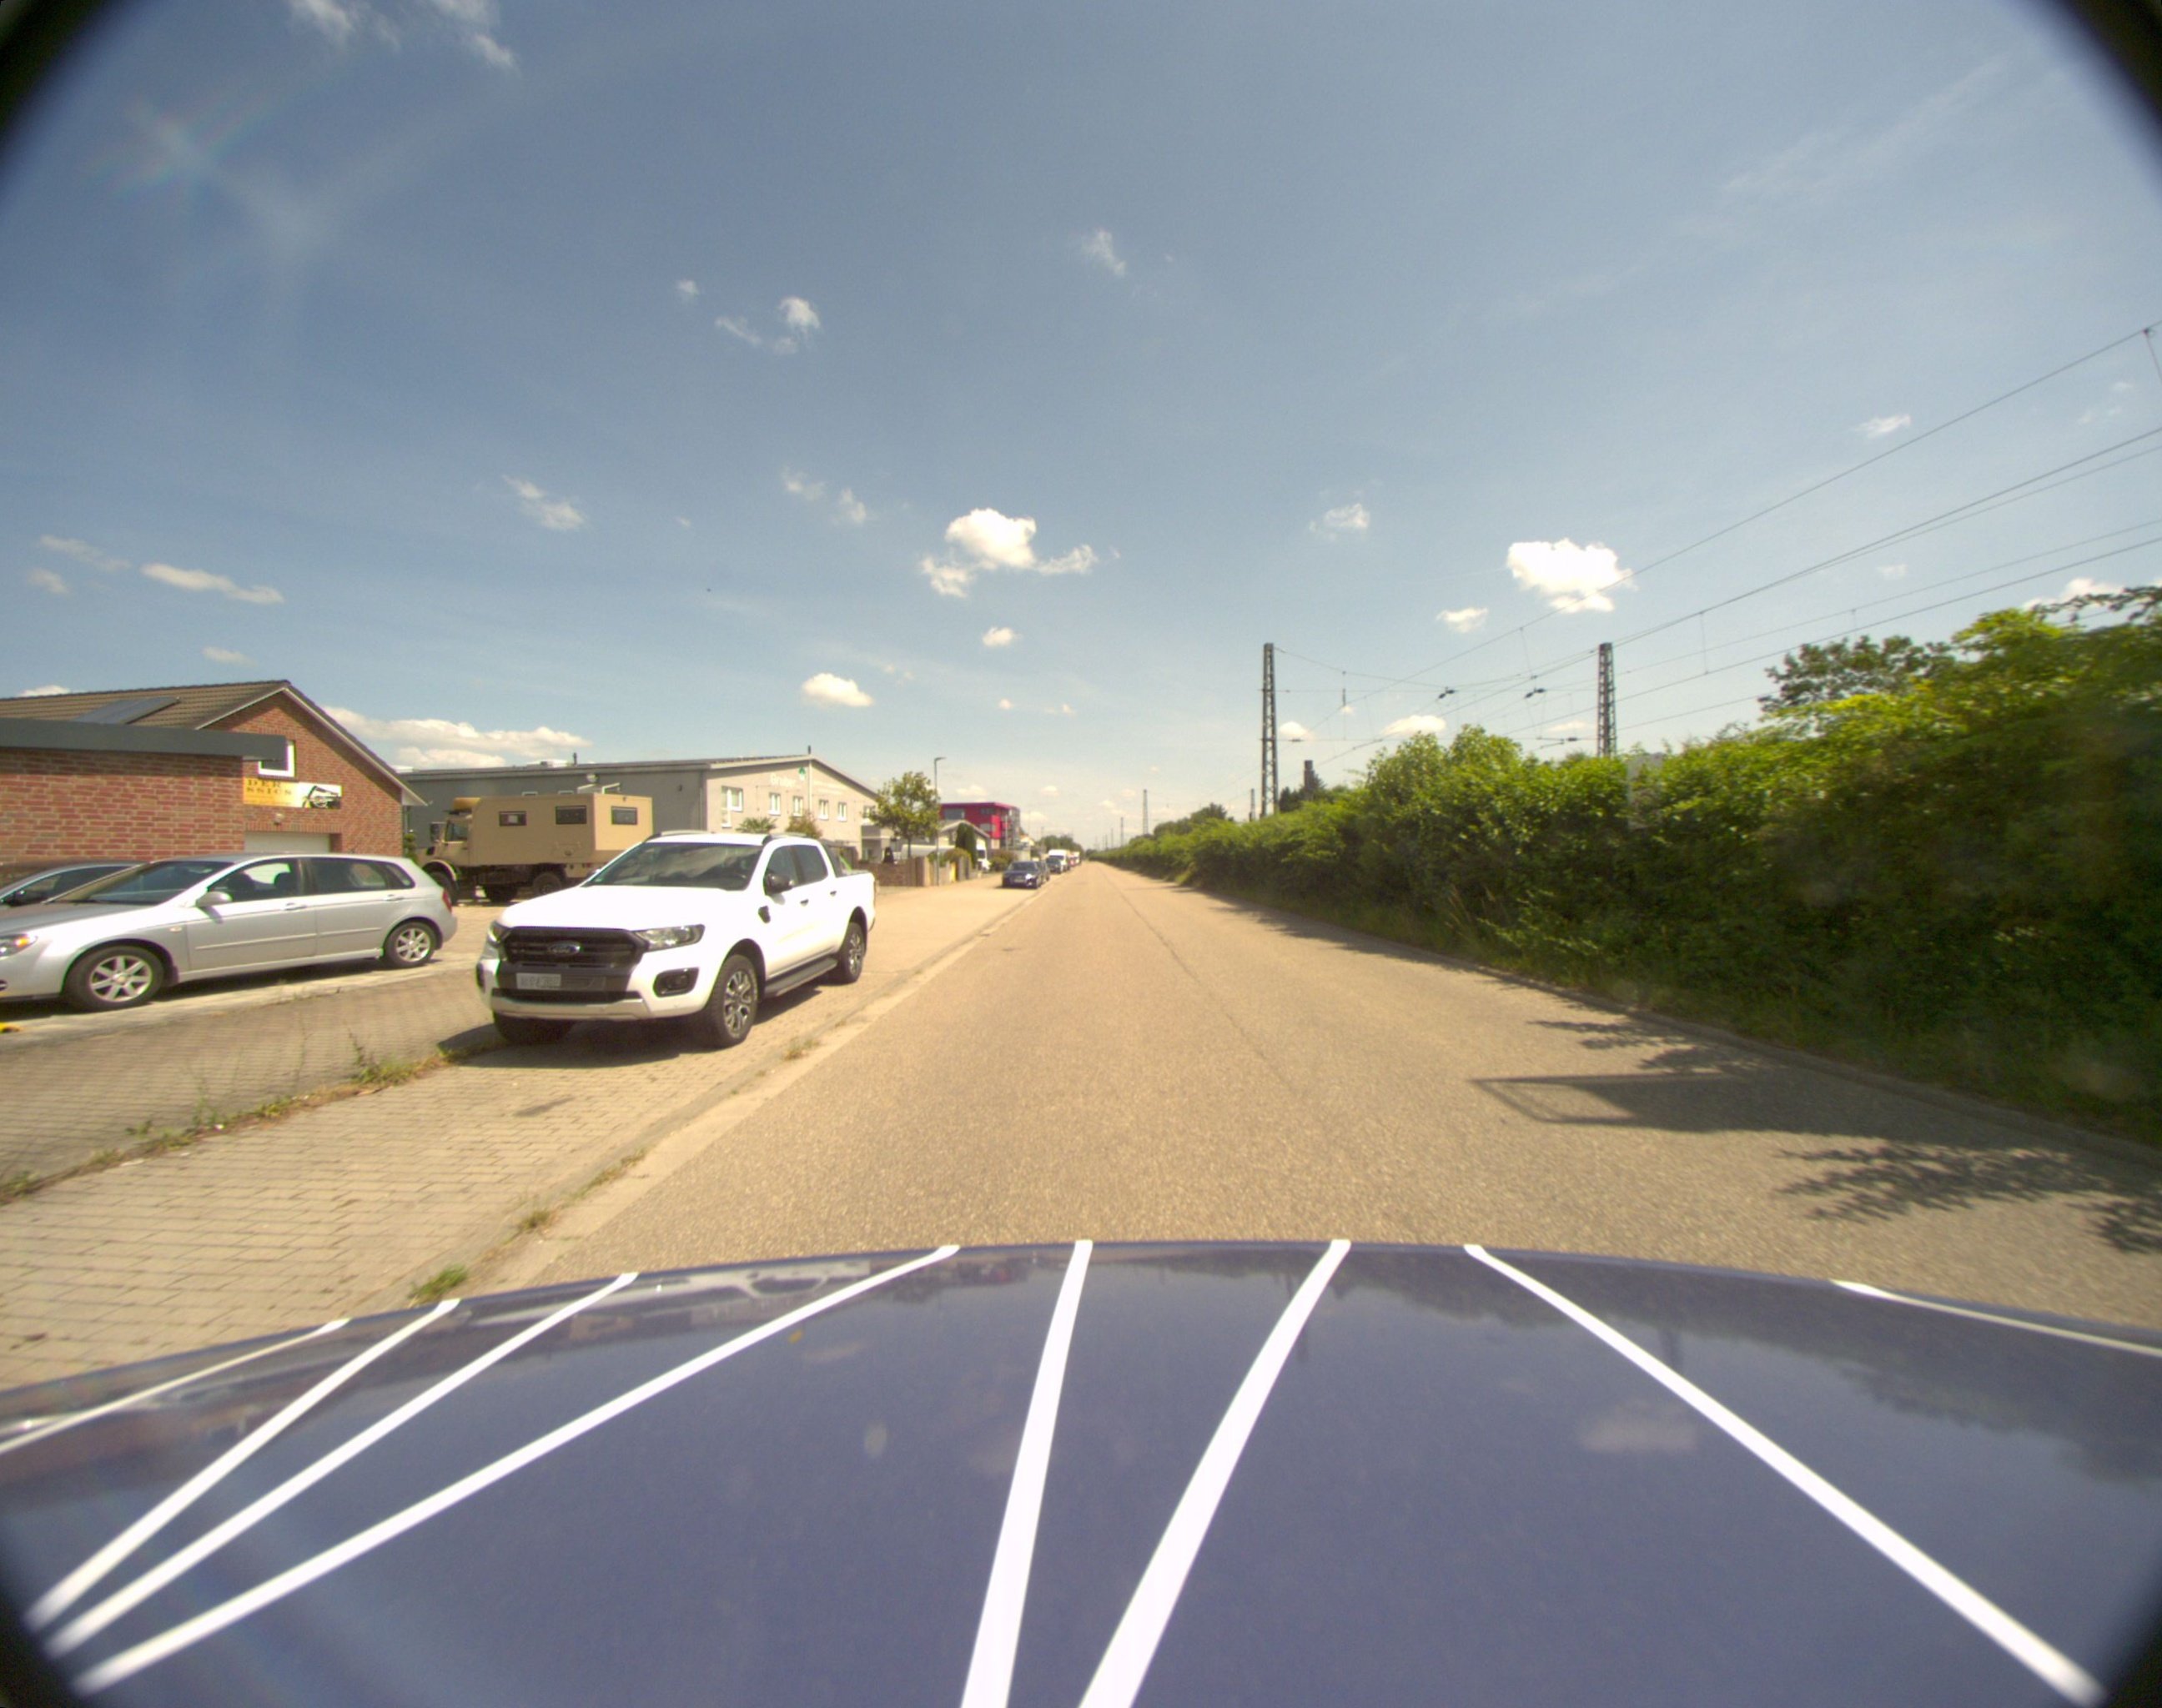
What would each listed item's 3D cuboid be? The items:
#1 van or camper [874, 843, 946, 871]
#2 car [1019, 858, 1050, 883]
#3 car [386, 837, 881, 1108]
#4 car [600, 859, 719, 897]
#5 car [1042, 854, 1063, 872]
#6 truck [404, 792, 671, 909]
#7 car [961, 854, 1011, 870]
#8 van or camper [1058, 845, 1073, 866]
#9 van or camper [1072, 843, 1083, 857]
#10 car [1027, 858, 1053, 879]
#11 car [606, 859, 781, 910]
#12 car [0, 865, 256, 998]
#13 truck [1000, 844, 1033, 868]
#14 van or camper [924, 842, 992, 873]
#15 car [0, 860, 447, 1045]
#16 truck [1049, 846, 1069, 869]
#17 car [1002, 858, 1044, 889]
[{"bbox_3d":[-15.127,0.284,67.147,5.832,2.423,2.136,0,0,11],"label":"van or camper"},{"bbox_3d":[-2.833,0.993,46.952,1.618,1.464,3.876,1,0,1],"label":"car"},{"bbox_3d":[-3.722,0.795,7.812,1.852,1.804,5.424,0,0,0],"label":"car"},{"bbox_3d":[-15.975,0.875,29.061,1.785,1.316,4.005,0,0,12],"label":"car"},{"bbox_3d":[-2.786,0.839,74.633,1.805,1.692,4.000,1,0,1],"label":"car"},{"bbox_3d":[-16.893,-0.095,23.862,6.473,3.368,3.109,0,0,9],"label":"truck"},{"bbox_3d":[-9.193,0.767,73.951,4.605,1.478,1.714,0,0,1],"label":"car"},{"bbox_3d":[-2.183,0.197,109.942,1.998,2.854,4.395,-1,1,1],"label":"van or camper"},{"bbox_3d":[-0.808,-1.008,186.424,2.333,3.497,4.770,-2,1,1],"label":"van or camper"},{"bbox_3d":[-2.924,1.004,54.603,1.618,1.415,4.195,1,0,1],"label":"car"},{"bbox_3d":[-11.430,0.859,22.557,4.275,1.412,1.978,0,0,10],"label":"car"},{"bbox_3d":[-12.306,0.840,8.388,1.749,1.368,4.003,1,0,11],"label":"car"},{"bbox_3d":[-7.267,0.200,86.221,2.381,2.673,5.788,0,0,10],"label":"truck"},{"bbox_3d":[-10.137,0.257,62.760,5.098,2.519,2.002,0,0,14],"label":"van or camper"},{"bbox_3d":[-9.556,0.822,8.123,1.909,1.471,4.003,0,0,8],"label":"car"},{"bbox_3d":[-2.432,0.382,86.327,1.998,2.550,5.290,0,0,2],"label":"truck"},{"bbox_3d":[-2.993,0.975,40.068,1.766,1.464,4.718,1,0,1],"label":"car"}]
